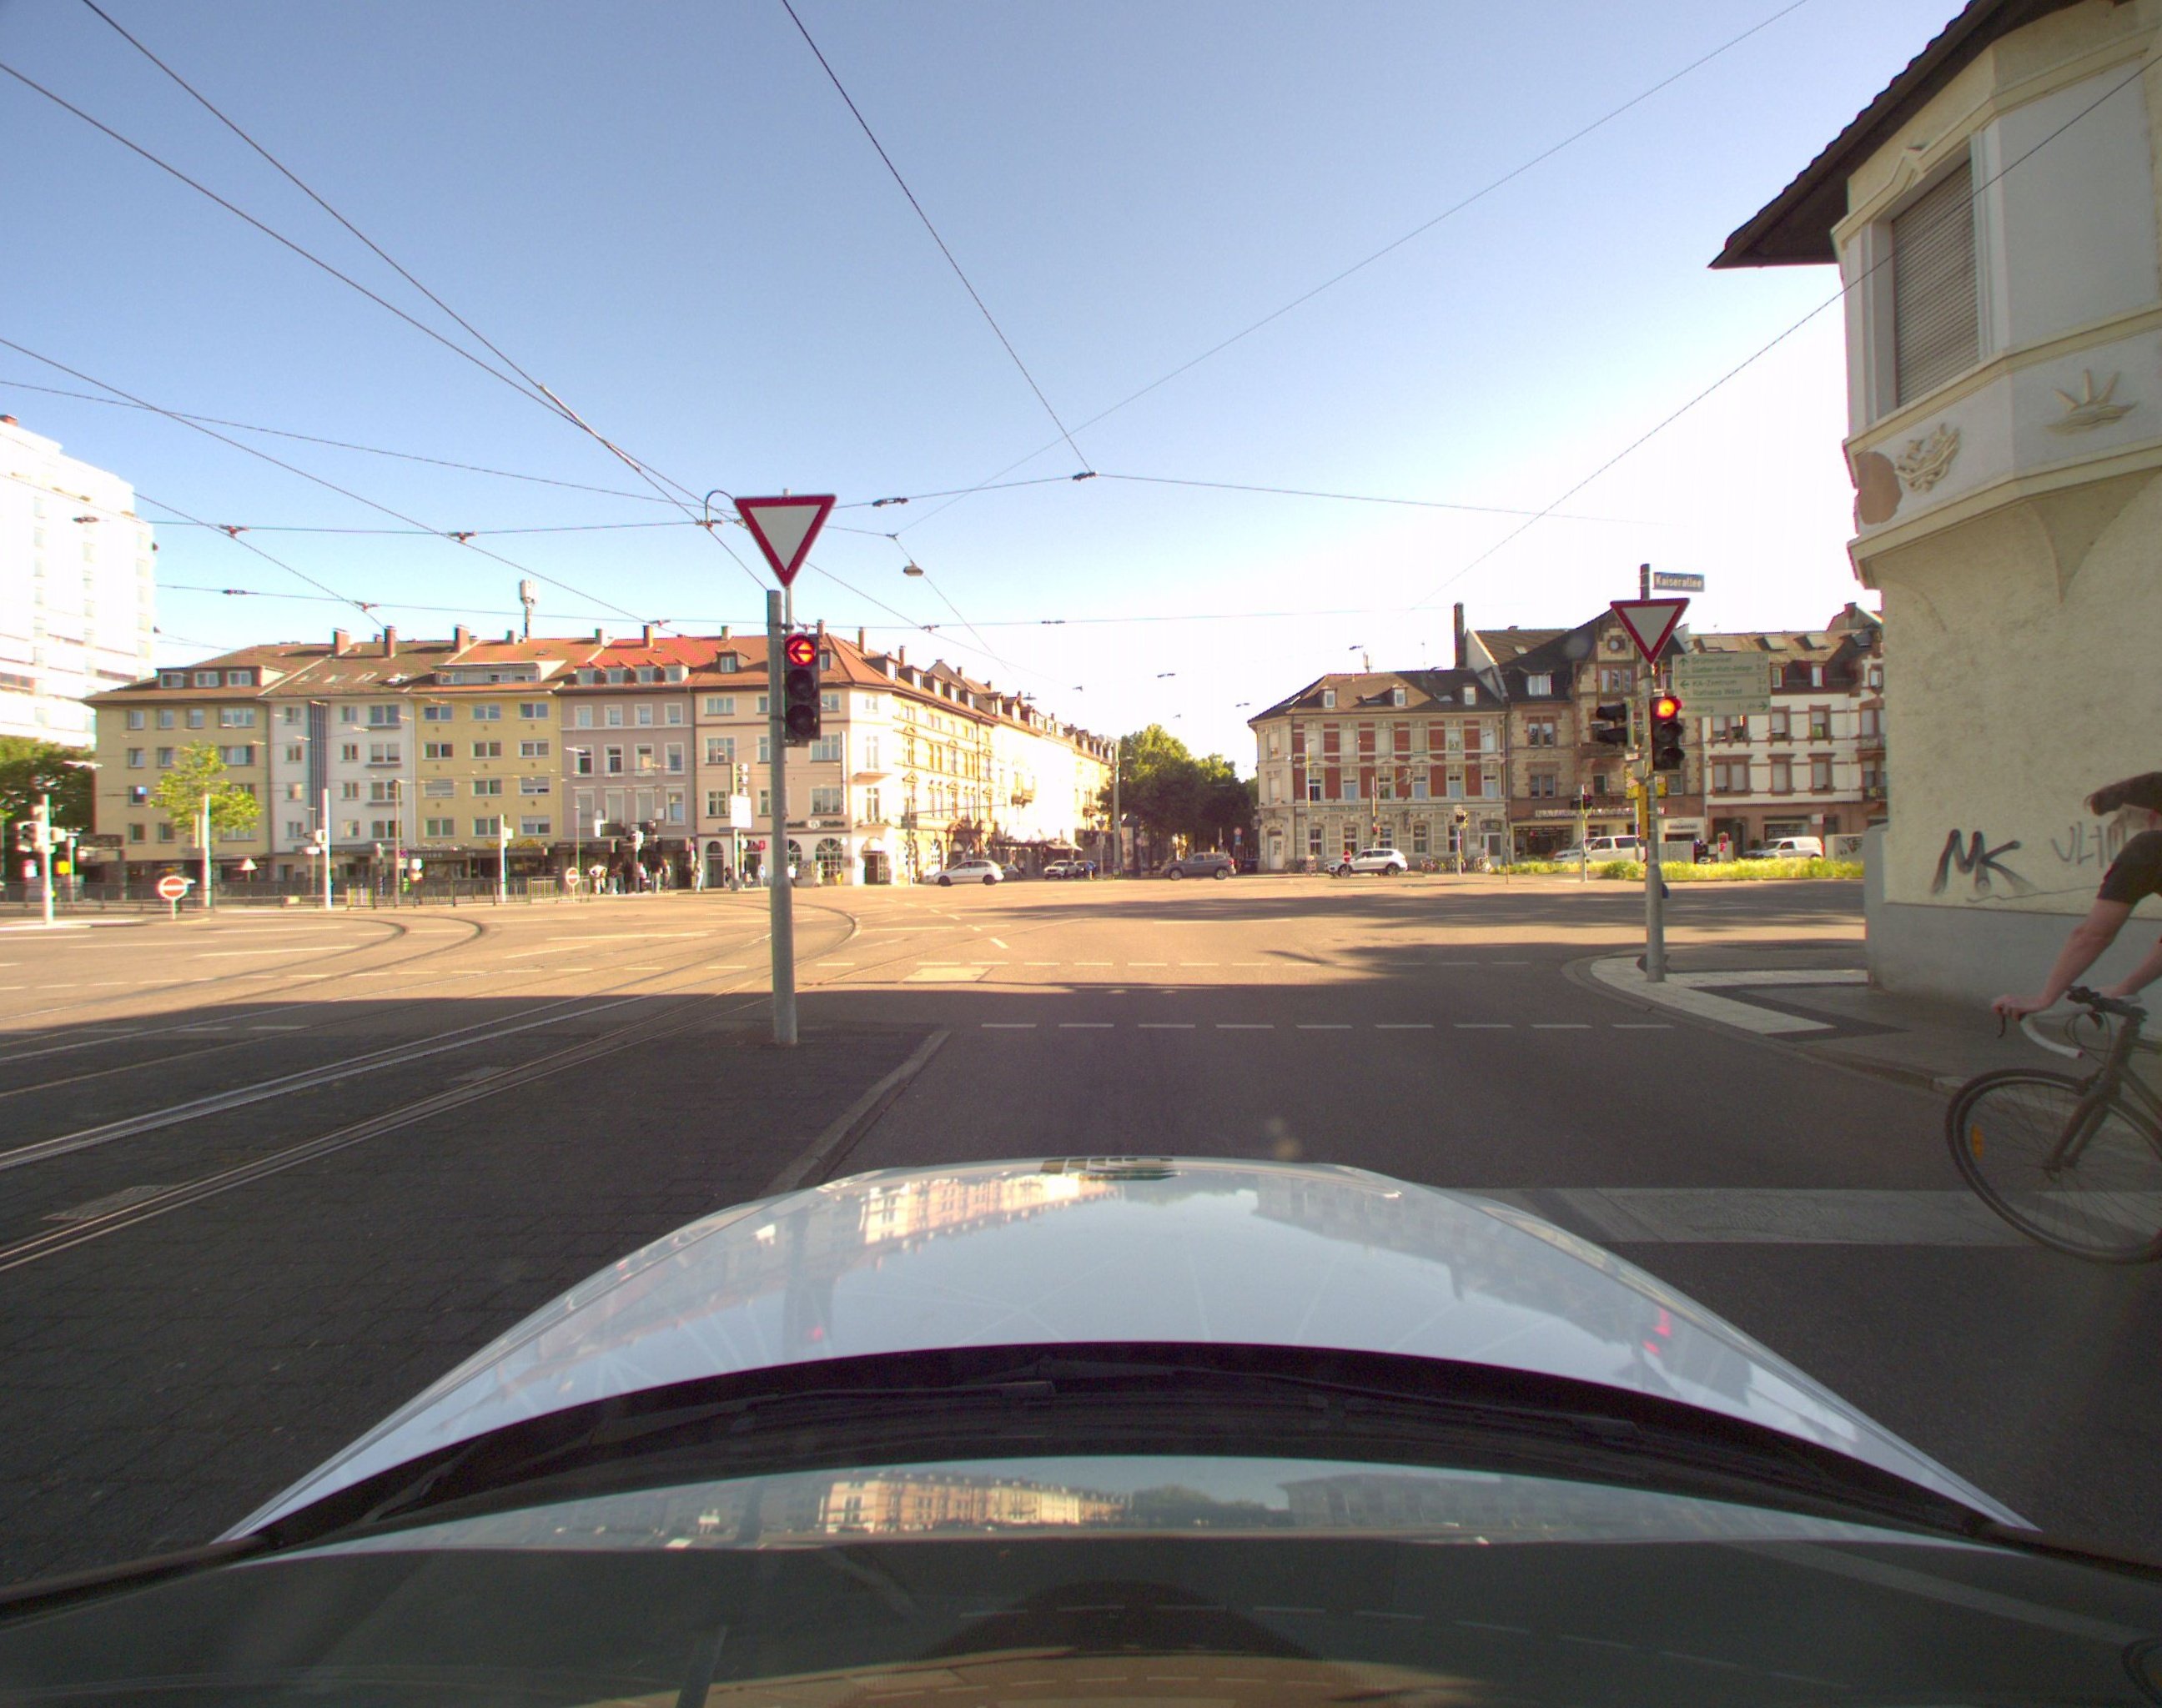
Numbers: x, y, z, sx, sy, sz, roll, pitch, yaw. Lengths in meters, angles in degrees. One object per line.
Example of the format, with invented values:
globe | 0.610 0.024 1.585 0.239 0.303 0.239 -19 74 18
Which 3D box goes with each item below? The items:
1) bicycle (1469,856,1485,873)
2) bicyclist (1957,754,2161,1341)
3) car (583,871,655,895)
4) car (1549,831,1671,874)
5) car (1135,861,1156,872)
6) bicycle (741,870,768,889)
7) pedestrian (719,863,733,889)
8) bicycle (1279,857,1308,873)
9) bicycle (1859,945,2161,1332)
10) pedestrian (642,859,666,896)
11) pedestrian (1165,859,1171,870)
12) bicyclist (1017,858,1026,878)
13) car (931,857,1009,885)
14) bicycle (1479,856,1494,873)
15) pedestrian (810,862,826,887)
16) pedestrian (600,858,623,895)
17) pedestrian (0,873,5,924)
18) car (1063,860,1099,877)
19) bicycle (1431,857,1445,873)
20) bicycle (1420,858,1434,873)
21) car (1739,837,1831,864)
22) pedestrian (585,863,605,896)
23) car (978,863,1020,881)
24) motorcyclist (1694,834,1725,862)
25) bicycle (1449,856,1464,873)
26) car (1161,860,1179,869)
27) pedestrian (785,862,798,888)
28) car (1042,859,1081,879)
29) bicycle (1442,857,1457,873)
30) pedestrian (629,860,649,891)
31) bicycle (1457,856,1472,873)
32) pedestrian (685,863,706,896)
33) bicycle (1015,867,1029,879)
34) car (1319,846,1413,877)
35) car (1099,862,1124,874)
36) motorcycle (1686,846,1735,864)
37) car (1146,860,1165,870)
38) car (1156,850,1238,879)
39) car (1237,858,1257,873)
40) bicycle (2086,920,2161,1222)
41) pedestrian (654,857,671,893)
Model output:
bicycle | 25.633 0.674 52.759 0.483 1.020 1.789 -1 0 12
bicyclist | 3.562 0.578 2.496 0.649 1.767 0.995 -1 0 2
car | -30.342 1.898 53.531 3.711 1.491 1.820 0 -1 4
car | 27.128 -0.081 41.889 4.962 2.013 2.001 -1 0 1
car | 9.251 1.815 116.819 1.977 1.404 4.189 -1 0 18
bicycle | -22.998 1.762 57.313 1.714 1.276 0.385 -1 0 -16
pedestrian | -23.071 1.408 52.928 0.744 1.682 0.623 -1 0 -23
bicycle | 14.917 0.752 57.136 1.940 1.054 0.717 -1 0 11
bicycle | 3.564 0.920 2.498 0.568 1.058 1.890 -1 0 2
pedestrian | -21.545 1.162 41.104 0.764 1.829 0.723 -1 0 1
pedestrian | 10.632 1.297 99.210 0.542 1.385 0.628 -1 0 18
bicyclist | -4.763 1.094 65.467 0.486 1.601 0.668 -1 0 12
car | -6.167 0.953 45.418 4.013 1.423 1.886 -1 0 1
bicycle | 26.337 0.670 52.914 0.483 1.020 1.789 -1 0 12
pedestrian | -18.186 1.430 56.318 0.907 1.682 0.742 -1 0 -5
pedestrian | -23.289 1.108 40.427 0.625 1.850 0.778 -1 0 1
pedestrian | -34.930 1.437 25.732 0.770 1.611 0.794 -1 0 -5
car | 0.035 1.312 73.803 1.977 1.404 4.189 -1 0 18
bicycle | 23.163 0.724 52.870 0.483 1.020 1.789 -1 0 12
bicycle | 22.487 0.734 52.974 0.483 0.914 1.789 -1 0 12
car | 45.297 -0.240 52.478 4.239 1.622 1.999 -1 0 -1
pedestrian | -25.113 1.305 42.073 0.773 1.682 0.621 -1 0 -38
car | -6.754 1.477 67.359 1.977 1.361 3.836 -1 0 18
motorcyclist | 31.988 -0.310 41.475 0.999 1.355 0.744 -1 0 1
bicycle | 24.319 0.683 52.802 0.483 1.020 1.789 -1 0 12
car | 14.335 1.711 131.256 1.977 1.404 4.189 -1 0 18
pedestrian | -19.306 1.388 54.375 0.744 1.682 0.623 -1 0 -23
car | -1.585 1.218 67.665 1.977 1.516 4.189 -1 0 18
bicycle | 23.859 0.686 52.752 0.483 1.020 1.789 -1 0 12
pedestrian | -22.917 1.090 42.198 0.697 1.581 0.559 -1 0 -4
bicycle | 24.822 0.679 52.711 0.483 1.020 1.789 -1 0 12
pedestrian | -19.924 1.317 42.063 0.738 1.682 0.628 -1 0 1
bicycle | -4.758 1.532 65.565 0.650 1.000 1.671 -1 -1 14
car | 16.794 0.416 48.075 4.840 1.653 1.999 -1 0 -1
car | 3.837 1.713 102.171 1.977 1.404 4.189 -1 0 18
motorcycle | 32.013 0.053 41.439 2.033 0.897 0.562 -1 0 1
car | 11.205 1.691 122.497 1.977 1.404 4.189 -1 0 18
car | 6.863 0.604 48.347 4.566 1.615 1.999 -1 0 -1
car | 16.804 1.134 82.289 1.742 1.420 4.016 -1 0 14
bicycle | 4.507 0.860 2.484 0.568 1.165 1.890 -1 0 2
pedestrian | -21.618 1.079 42.042 0.559 1.786 0.559 -1 0 -4
